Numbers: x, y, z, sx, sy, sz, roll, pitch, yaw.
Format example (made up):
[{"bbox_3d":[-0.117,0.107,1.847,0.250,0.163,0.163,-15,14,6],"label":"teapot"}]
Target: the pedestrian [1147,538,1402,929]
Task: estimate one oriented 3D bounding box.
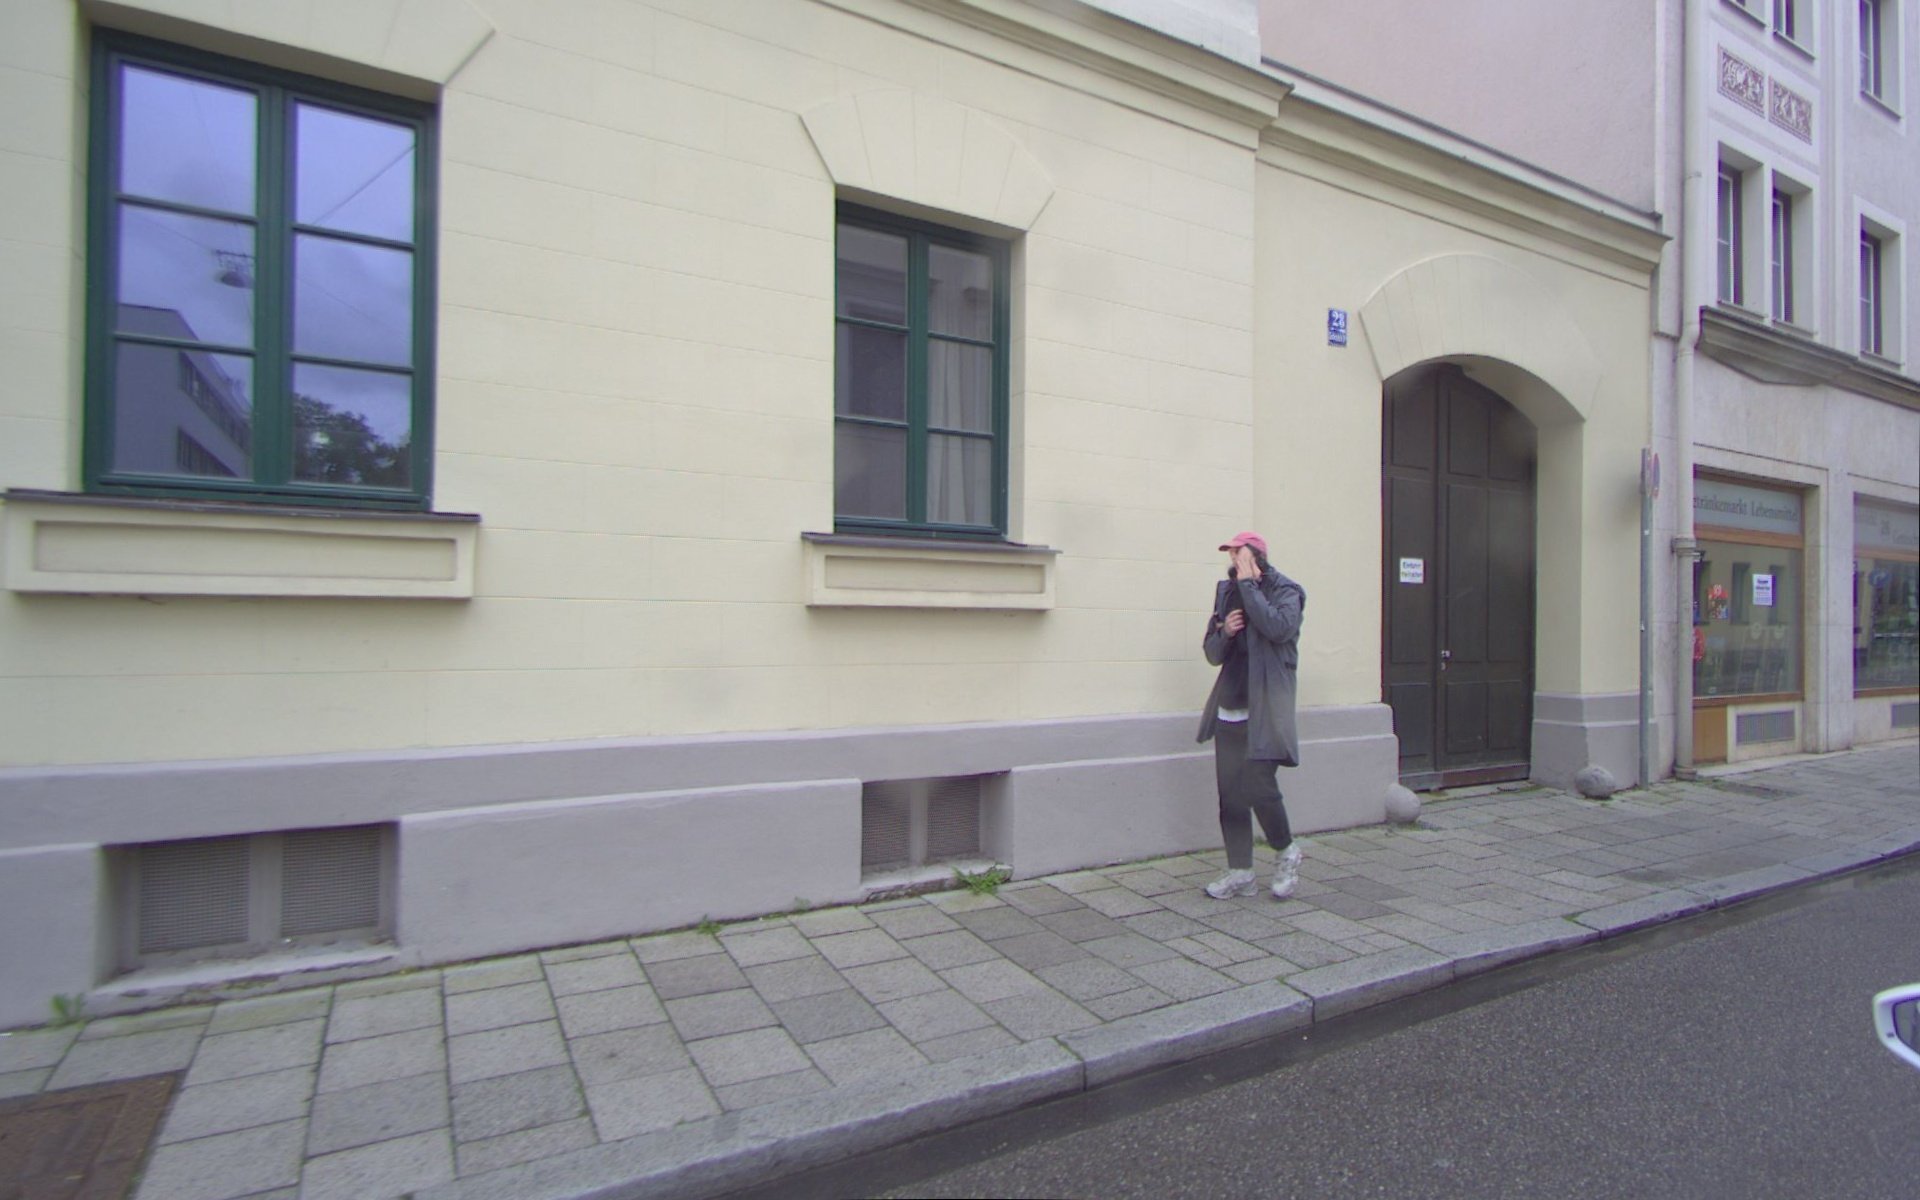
[{"bbox_3d":[1.609,0.603,5.169,0.979,1.779,0.805,-1,1,-32],"label":"pedestrian"}]
